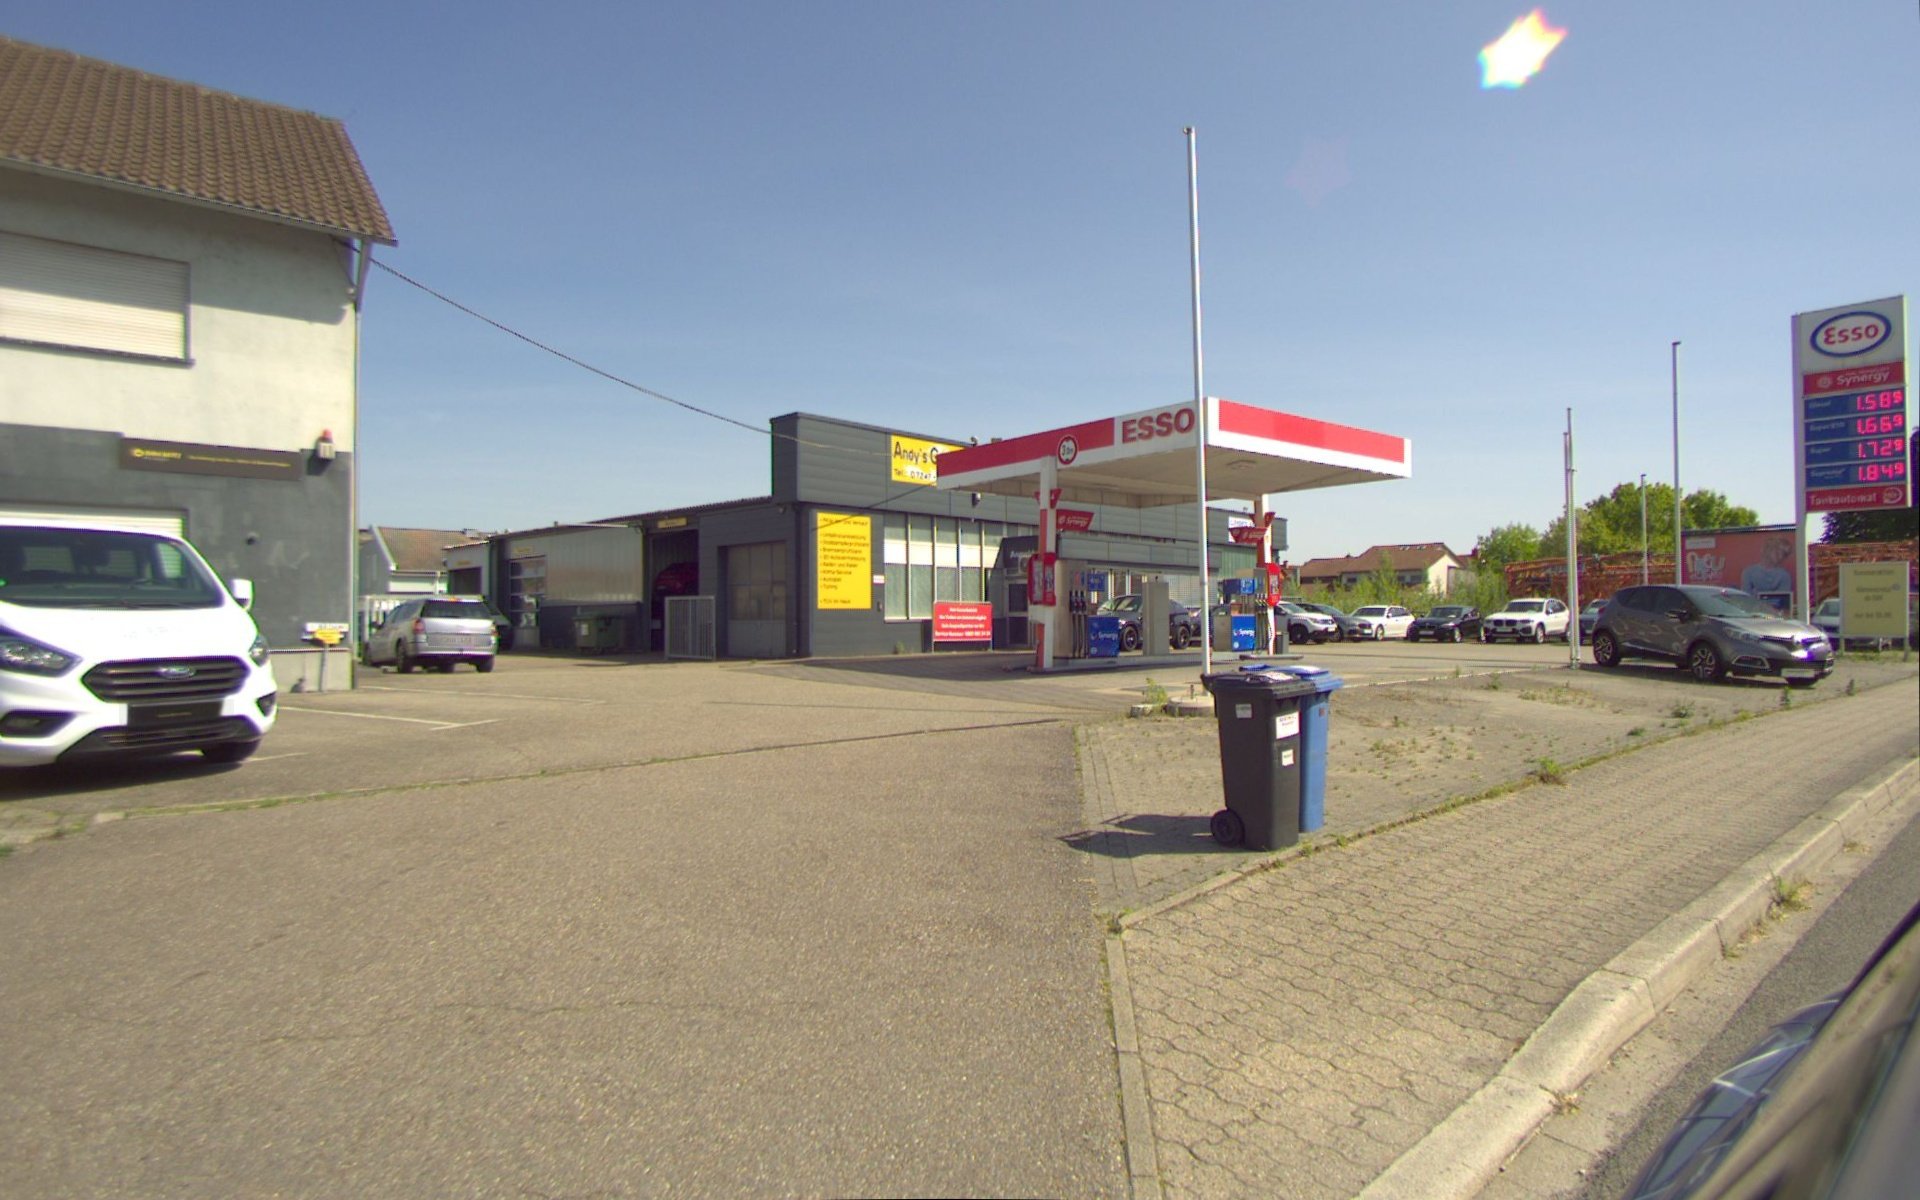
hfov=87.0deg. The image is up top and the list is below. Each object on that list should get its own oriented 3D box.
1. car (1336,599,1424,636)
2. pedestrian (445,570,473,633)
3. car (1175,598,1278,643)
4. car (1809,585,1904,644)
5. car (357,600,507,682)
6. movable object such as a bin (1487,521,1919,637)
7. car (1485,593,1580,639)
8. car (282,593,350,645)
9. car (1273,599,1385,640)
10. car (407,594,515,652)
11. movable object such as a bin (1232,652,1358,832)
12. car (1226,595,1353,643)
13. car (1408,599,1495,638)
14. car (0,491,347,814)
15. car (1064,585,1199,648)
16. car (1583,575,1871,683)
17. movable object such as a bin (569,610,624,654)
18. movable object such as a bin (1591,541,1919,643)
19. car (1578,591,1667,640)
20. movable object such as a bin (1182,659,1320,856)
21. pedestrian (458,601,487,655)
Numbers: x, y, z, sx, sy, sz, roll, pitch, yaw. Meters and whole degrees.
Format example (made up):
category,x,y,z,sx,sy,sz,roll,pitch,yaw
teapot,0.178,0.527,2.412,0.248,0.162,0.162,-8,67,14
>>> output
category,x,y,z,sx,sy,sz,roll,pitch,yaw
car,17.300,0.678,41.608,4.305,1.404,1.842,0,0,-45
pedestrian,-15.152,0.049,30.636,0.500,1.889,0.602,-1,-1,35
car,9.272,0.659,35.063,1.791,1.450,4.064,0,0,42
car,28.216,0.451,31.822,4.294,1.707,1.806,2,0,-43
car,-10.815,0.779,20.599,1.780,1.498,4.066,0,-1,-42
movable object such as a bin,30.555,-0.704,41.573,2.723,4.069,16.088,0,0,-38
car,21.344,0.548,37.672,4.268,1.612,1.999,0,0,-45
car,-35.251,0.994,55.311,5.174,2.735,1.992,0,0,44
car,14.235,0.732,39.141,1.781,1.493,3.683,0,0,-42
car,-18.023,0.765,36.440,5.168,1.928,1.904,0,0,44
movable object such as a bin,1.975,0.805,5.968,0.557,0.951,0.507,0,-1,42
car,12.156,0.658,37.497,1.781,1.655,4.146,0,0,-42
car,19.173,0.678,39.399,3.935,1.404,1.842,0,0,-45
car,-7.903,0.324,8.541,5.232,2.039,2.212,0,0,26
car,5.265,0.537,30.624,1.802,1.764,4.745,-2,-2,41
car,12.935,0.393,17.467,1.741,1.574,4.183,1,2,0
movable object such as a bin,-11.338,0.972,31.575,1.171,1.312,1.257,-1,0,44
movable object such as a bin,37.234,-0.325,47.013,2.811,4.218,13.283,0,0,-39
car,23.373,0.505,35.662,4.039,1.612,1.842,0,0,-45
movable object such as a bin,1.578,0.815,5.485,0.557,0.948,0.507,0,-1,42
pedestrian,-16.011,0.905,33.229,0.647,1.769,0.638,-1,-1,37
